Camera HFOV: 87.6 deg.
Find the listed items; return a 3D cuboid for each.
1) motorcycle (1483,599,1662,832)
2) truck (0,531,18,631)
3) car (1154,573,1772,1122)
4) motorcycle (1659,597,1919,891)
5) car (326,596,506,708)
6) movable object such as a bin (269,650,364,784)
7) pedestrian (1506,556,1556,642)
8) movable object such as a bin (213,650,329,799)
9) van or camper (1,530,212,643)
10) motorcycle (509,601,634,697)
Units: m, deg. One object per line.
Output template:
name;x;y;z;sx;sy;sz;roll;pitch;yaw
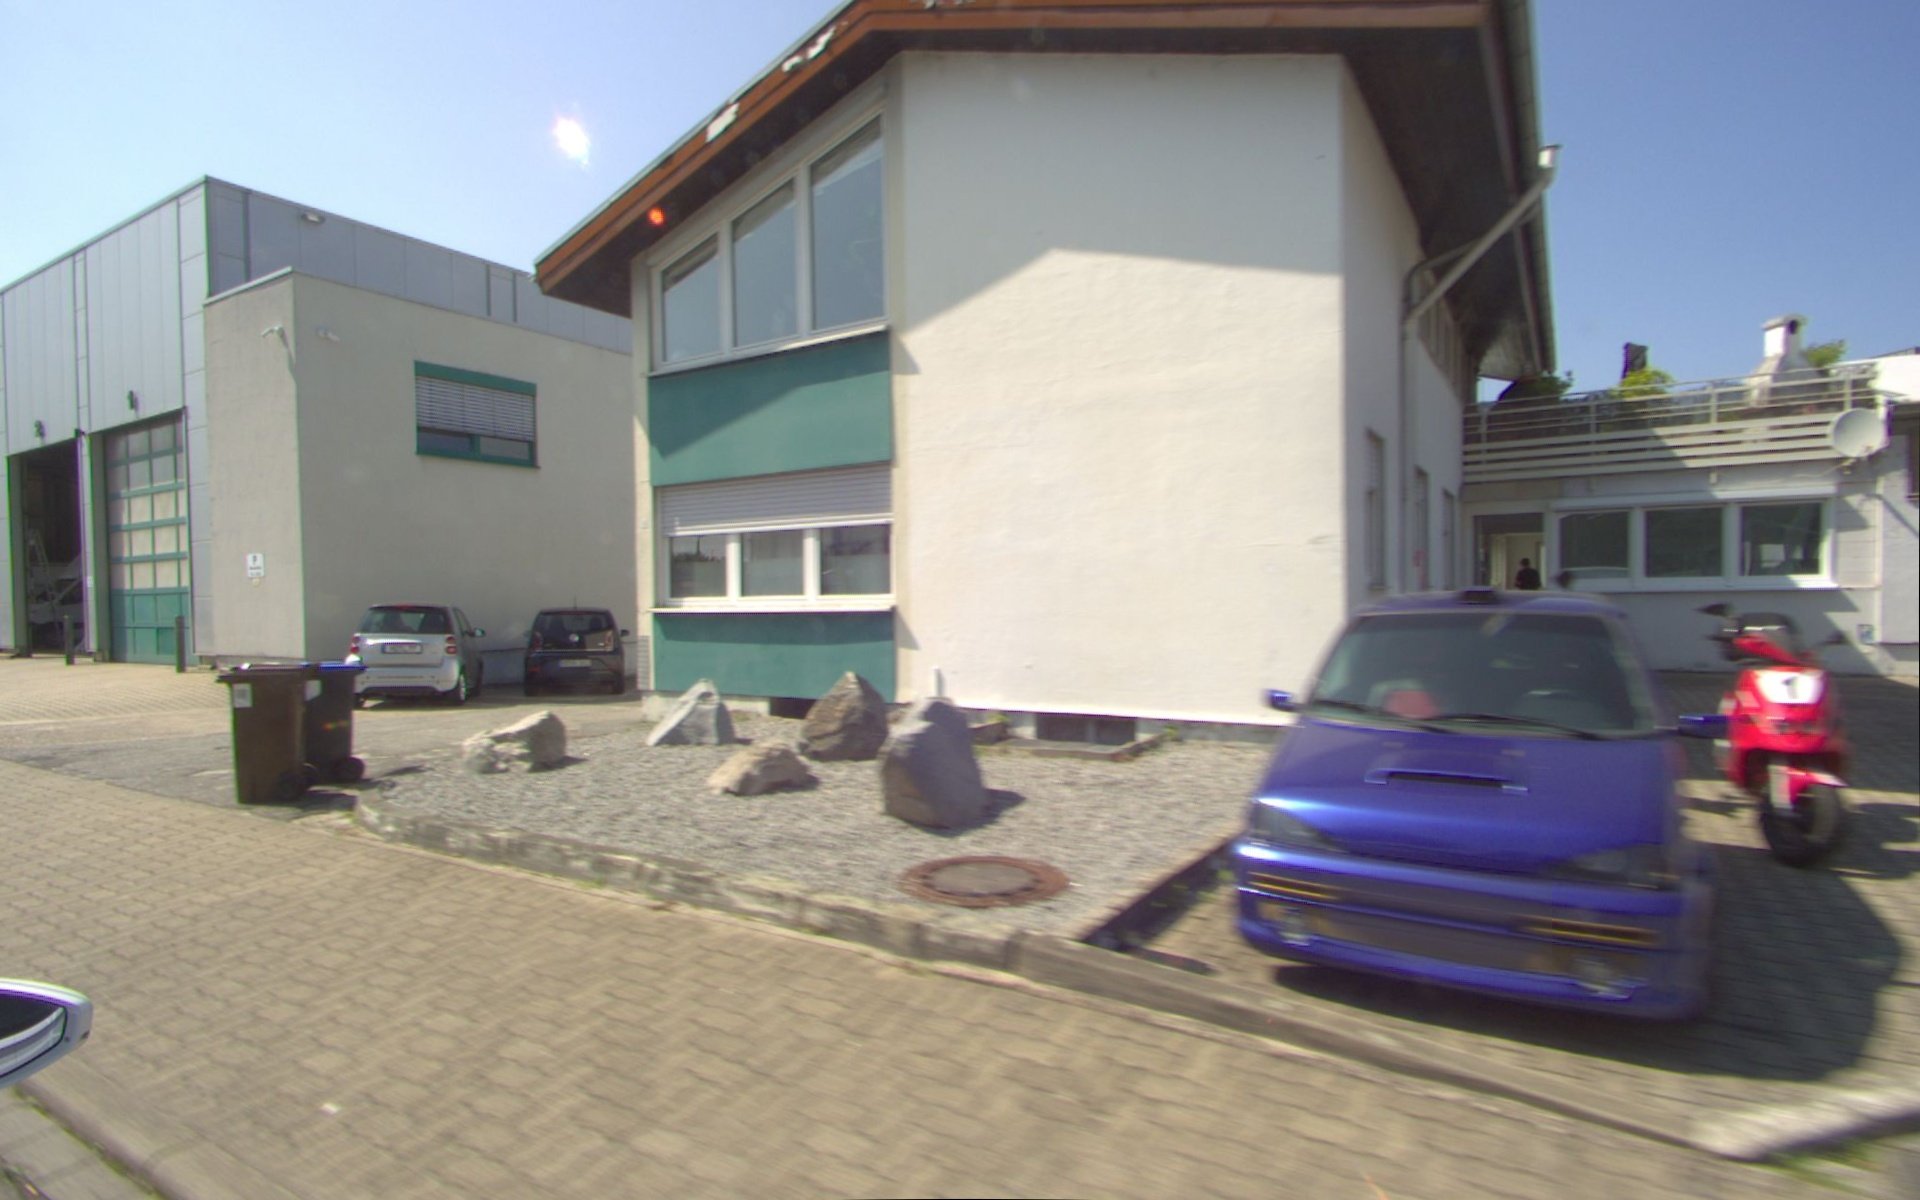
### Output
motorcycle;4.029;0.672;6.723;0.783;1.297;1.749;-1;2;23
truck;-38.249;-0.531;34.817;2.723;3.697;7.350;0;3;26
car;2.238;0.615;4.388;1.649;1.417;3.245;1;1;33
motorcycle;4.480;0.663;5.571;0.784;1.297;1.866;0;2;29
car;-8.640;0.736;16.245;1.747;1.560;3.696;-1;1;-16
movable object such as a bin;-5.031;0.892;7.834;0.482;0.959;0.510;0;2;44
pedestrian;12.083;-0.019;21.218;0.816;1.795;0.740;0;2;20
movable object such as a bin;-4.885;0.863;7.130;0.560;0.959;0.555;-1;1;-24
van or camper;-27.328;-0.398;32.269;1.969;3.332;4.750;0;1;29
motorcycle;-6.960;0.793;18.271;1.747;1.512;3.602;-1;1;-16
